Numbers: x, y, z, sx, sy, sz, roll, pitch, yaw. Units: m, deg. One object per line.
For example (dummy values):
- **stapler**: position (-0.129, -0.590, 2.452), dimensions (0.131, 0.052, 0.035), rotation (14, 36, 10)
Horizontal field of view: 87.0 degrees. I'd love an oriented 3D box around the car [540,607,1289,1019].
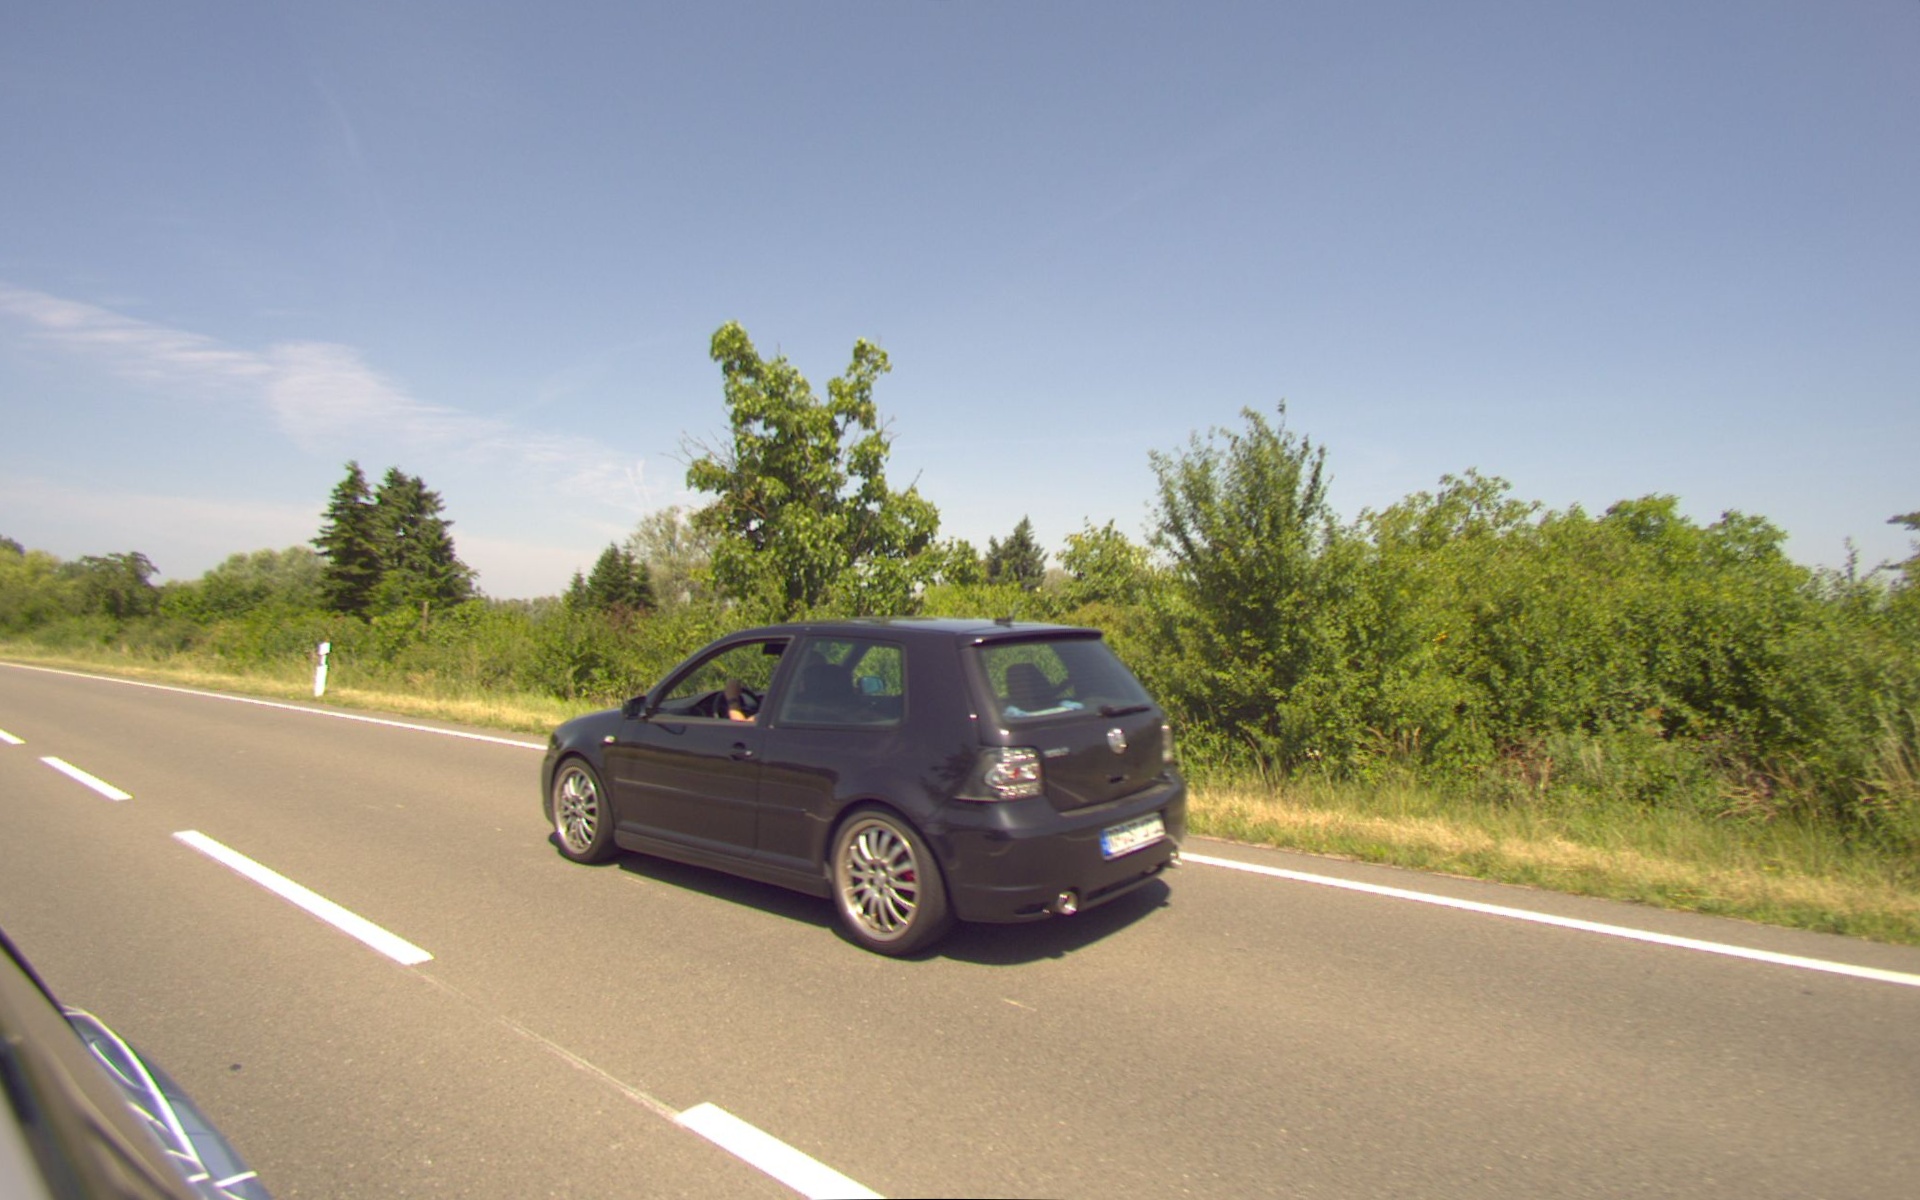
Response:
- **car**: position (-0.464, 0.744, 5.314), dimensions (3.824, 1.373, 1.675), rotation (-1, 0, 41)
